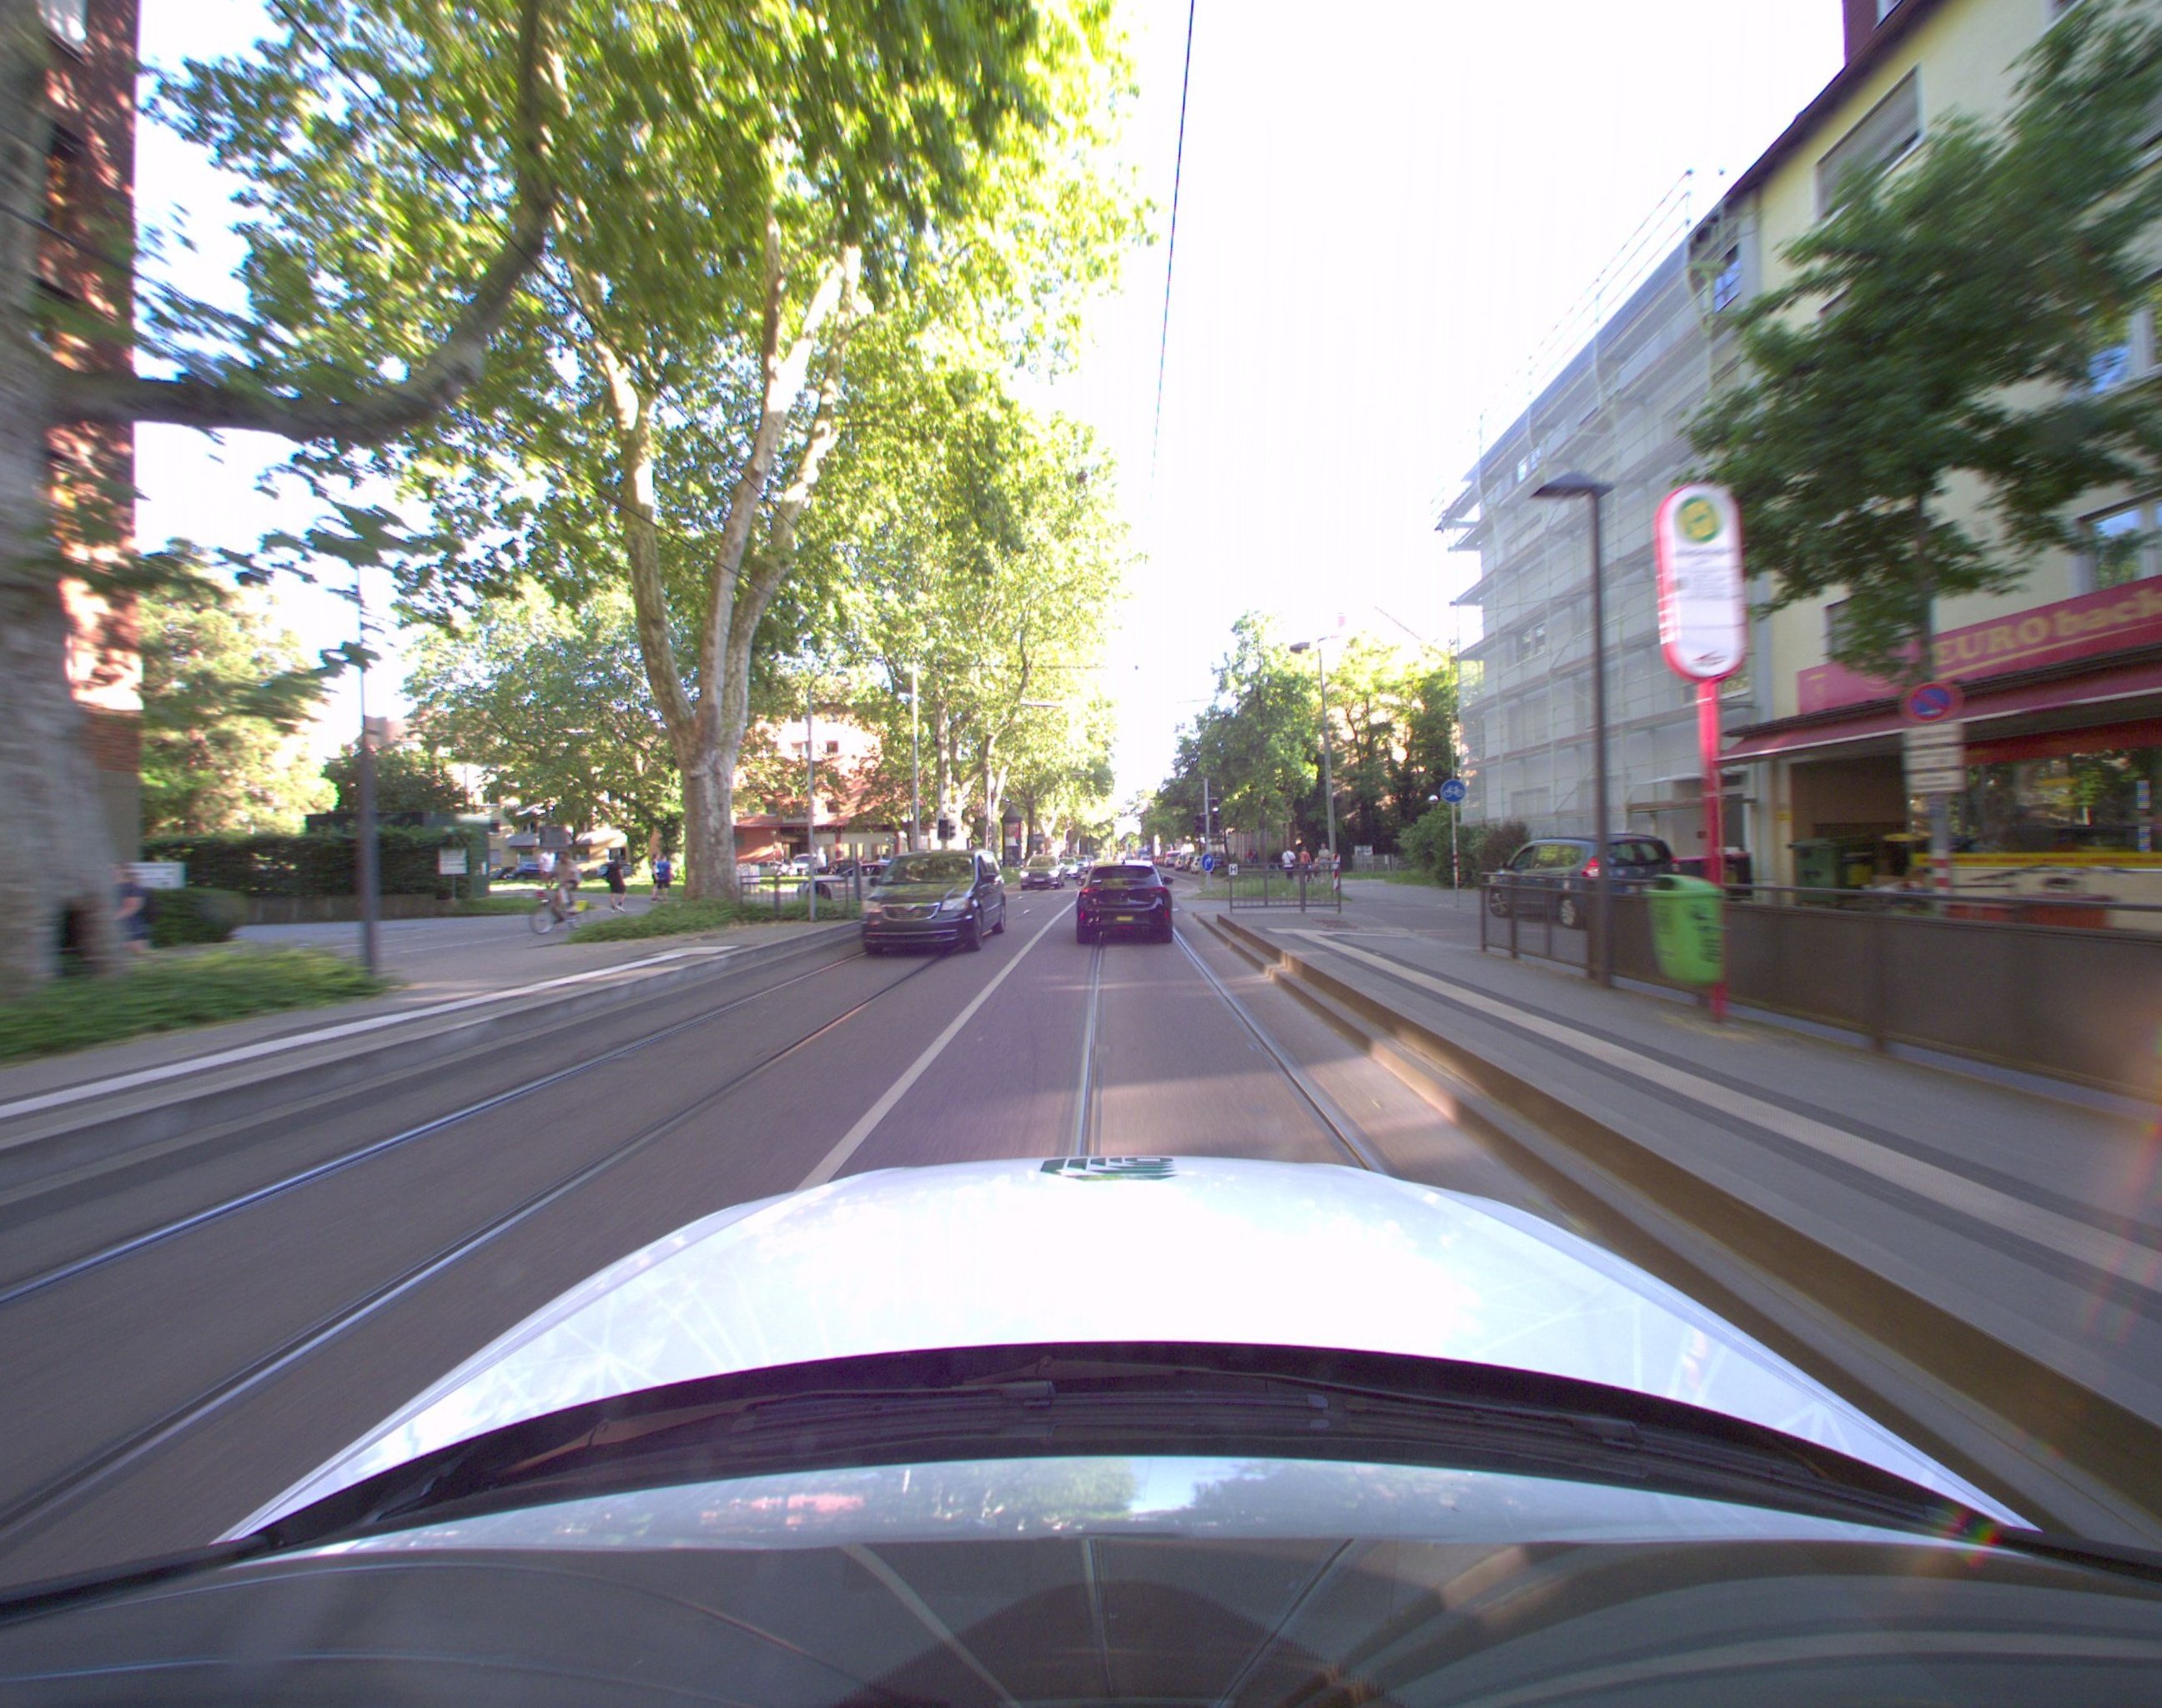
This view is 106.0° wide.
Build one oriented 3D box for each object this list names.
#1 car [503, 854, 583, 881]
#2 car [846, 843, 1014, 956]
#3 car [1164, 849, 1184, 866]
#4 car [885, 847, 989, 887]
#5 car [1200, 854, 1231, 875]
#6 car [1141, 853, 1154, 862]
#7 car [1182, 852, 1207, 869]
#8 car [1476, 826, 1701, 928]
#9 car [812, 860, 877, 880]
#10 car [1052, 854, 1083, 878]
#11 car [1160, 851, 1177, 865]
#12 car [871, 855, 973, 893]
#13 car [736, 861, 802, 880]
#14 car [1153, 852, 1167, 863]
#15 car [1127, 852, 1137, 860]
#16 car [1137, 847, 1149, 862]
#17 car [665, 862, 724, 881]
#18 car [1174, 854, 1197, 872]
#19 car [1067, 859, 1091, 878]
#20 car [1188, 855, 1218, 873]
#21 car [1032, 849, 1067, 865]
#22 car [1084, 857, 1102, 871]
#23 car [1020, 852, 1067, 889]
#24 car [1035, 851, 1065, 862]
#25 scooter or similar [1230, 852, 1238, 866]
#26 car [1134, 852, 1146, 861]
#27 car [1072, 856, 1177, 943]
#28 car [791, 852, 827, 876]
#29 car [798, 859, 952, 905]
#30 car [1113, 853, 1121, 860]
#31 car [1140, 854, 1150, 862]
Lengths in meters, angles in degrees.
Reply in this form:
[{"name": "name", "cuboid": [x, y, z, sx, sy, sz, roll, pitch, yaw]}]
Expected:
[{"name": "car", "cuboid": [-41.209, 1.039, 62.488, 4.725, 2.014, 1.995, 0, 0, -7]}, {"name": "car", "cuboid": [-2.533, 0.709, 15.077, 1.986, 1.716, 5.145, 0, 0, 2]}, {"name": "car", "cuboid": [11.026, 0.447, 97.115, 1.877, 1.851, 4.969, -4, 0, 2]}, {"name": "car", "cuboid": [-6.751, 0.607, 38.598, 4.555, 1.834, 1.938, 0, 0, 0]}, {"name": "car", "cuboid": [9.967, 0.756, 60.591, 1.667, 1.412, 3.842, -4, 0, 0]}, {"name": "car", "cuboid": [11.993, 0.674, 146.975, 1.877, 1.434, 4.532, -4, 0, 2]}, {"name": "car", "cuboid": [10.633, 0.606, 76.709, 1.876, 1.467, 4.597, -4, 0, 2]}, {"name": "car", "cuboid": [9.577, 0.368, 15.857, 1.755, 1.621, 4.446, -3, 0, 3]}, {"name": "car", "cuboid": [-18.472, 1.212, 63.734, 4.518, 1.489, 1.857, 0, 0, -4]}, {"name": "car", "cuboid": [-0.851, 0.768, 53.693, 1.768, 1.461, 4.207, 0, 0, 3]}, {"name": "car", "cuboid": [11.368, 0.475, 106.215, 1.878, 1.766, 4.680, -2, 0, 2]}, {"name": "car", "cuboid": [-7.034, 0.861, 36.271, 4.125, 1.646, 1.902, 0, 0, 0]}, {"name": "car", "cuboid": [-24.116, 1.263, 63.068, 4.463, 1.450, 1.820, 0, 0, -7]}, {"name": "car", "cuboid": [11.732, 0.526, 120.791, 1.696, 1.423, 3.980, -5, 0, 2]}, {"name": "car", "cuboid": [12.511, 0.614, 199.680, 2.245, 1.840, 5.533, -2, 0, 2]}, {"name": "car", "cuboid": [12.579, 0.105, 164.276, 2.077, 2.772, 4.699, -2, 0, 2]}, {"name": "car", "cuboid": [-29.778, 1.332, 62.836, 3.699, 1.450, 1.686, 0, 0, -4]}, {"name": "car", "cuboid": [10.409, 0.884, 81.425, 1.877, 1.568, 4.244, -4, 0, 2]}, {"name": "car", "cuboid": [-0.163, 1.214, 69.935, 1.808, 1.568, 4.118, -3, 0, 2]}, {"name": "car", "cuboid": [10.068, 0.823, 67.412, 1.877, 1.368, 4.108, -4, 0, 2]}, {"name": "car", "cuboid": [-4.591, 0.480, 118.295, 5.019, 2.259, 2.084, 0, 0, -2]}, {"name": "car", "cuboid": [1.278, 1.071, 87.642, 1.657, 1.444, 3.469, 0, 0, -3]}, {"name": "car", "cuboid": [-1.751, 0.779, 39.429, 1.901, 1.638, 4.322, -2, 0, 1]}, {"name": "car", "cuboid": [-4.584, 0.381, 121.269, 4.287, 1.607, 1.925, -1, 0, -1]}, {"name": "scooter or similar", "cuboid": [13.809, 0.490, 73.522, 0.573, 1.246, 1.336, 0, 0, 3]}, {"name": "car", "cuboid": [12.923, 0.507, 178.038, 2.245, 1.840, 5.533, -2, 0, 2]}, {"name": "car", "cuboid": [0.799, 0.776, 15.666, 1.756, 1.460, 3.952, 0, 0, 2]}, {"name": "car", "cuboid": [-23.628, 0.814, 70.866, 1.992, 2.003, 4.908, 0, 0, -7]}, {"name": "car", "cuboid": [-6.915, 0.919, 27.706, 4.753, 1.460, 1.953, 0, 0, -3]}, {"name": "car", "cuboid": [10.141, 0.766, 228.296, 2.245, 1.840, 5.533, -2, 0, 2]}, {"name": "car", "cuboid": [12.303, 0.737, 157.069, 1.796, 1.434, 4.001, -2, -1, 2]}]
